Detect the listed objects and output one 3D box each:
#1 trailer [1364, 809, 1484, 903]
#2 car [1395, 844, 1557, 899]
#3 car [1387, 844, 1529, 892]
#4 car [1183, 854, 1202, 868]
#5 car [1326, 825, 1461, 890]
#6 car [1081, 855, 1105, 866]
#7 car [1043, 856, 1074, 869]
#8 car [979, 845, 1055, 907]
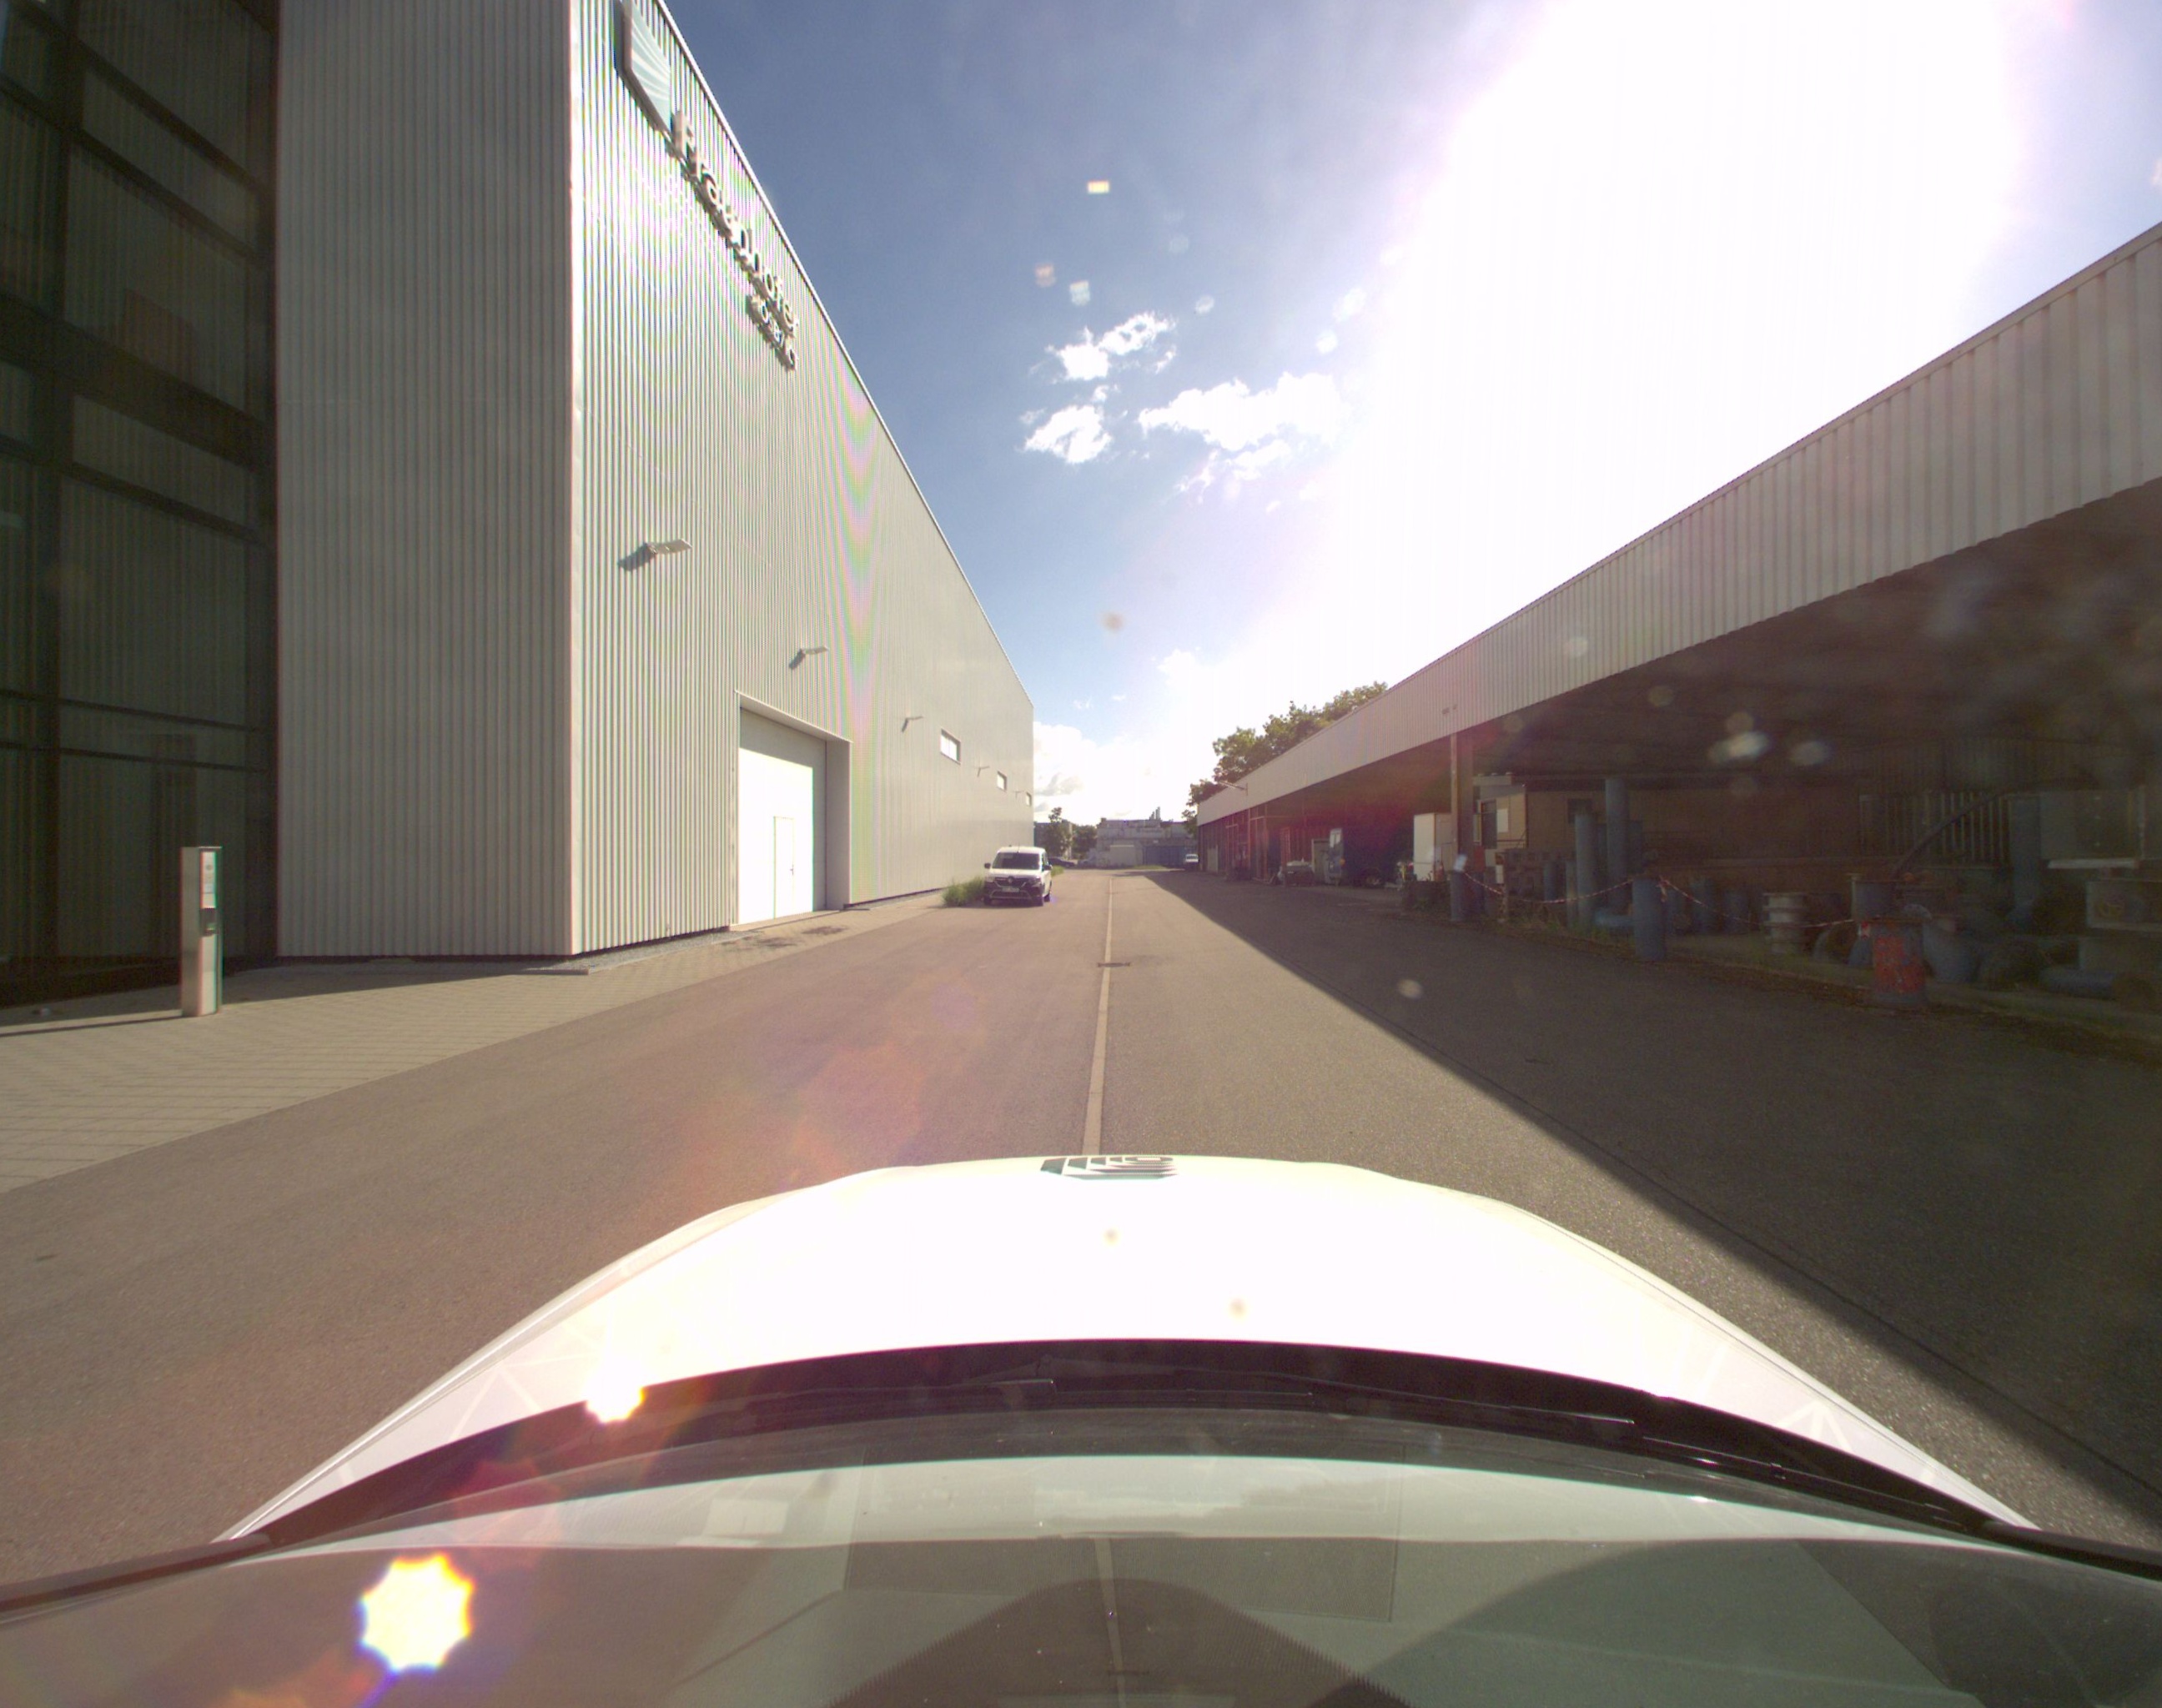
[{"bbox_3d":[9.176,0.060,21.966,2.513,2.399,1.728,-1,-1,3],"label":"trailer"},{"bbox_3d":[11.622,0.531,24.162,4.021,1.525,1.685,1,-2,3],"label":"car"},{"bbox_3d":[12.677,0.477,27.559,4.021,1.525,1.685,1,-2,3],"label":"car"},{"bbox_3d":[12.982,0.830,95.179,1.953,1.564,4.063,1,0,4],"label":"car"},{"bbox_3d":[11.691,0.165,30.689,4.414,2.310,1.916,1,-2,3],"label":"car"},{"bbox_3d":[1.951,1.081,135.822,3.973,1.598,1.848,1,-2,1],"label":"car"},{"bbox_3d":[-2.960,1.113,108.054,3.973,1.598,1.741,1,-2,1],"label":"car"},{"bbox_3d":[-1.915,0.626,25.737,1.811,1.787,4.408,1,0,3],"label":"car"}]
